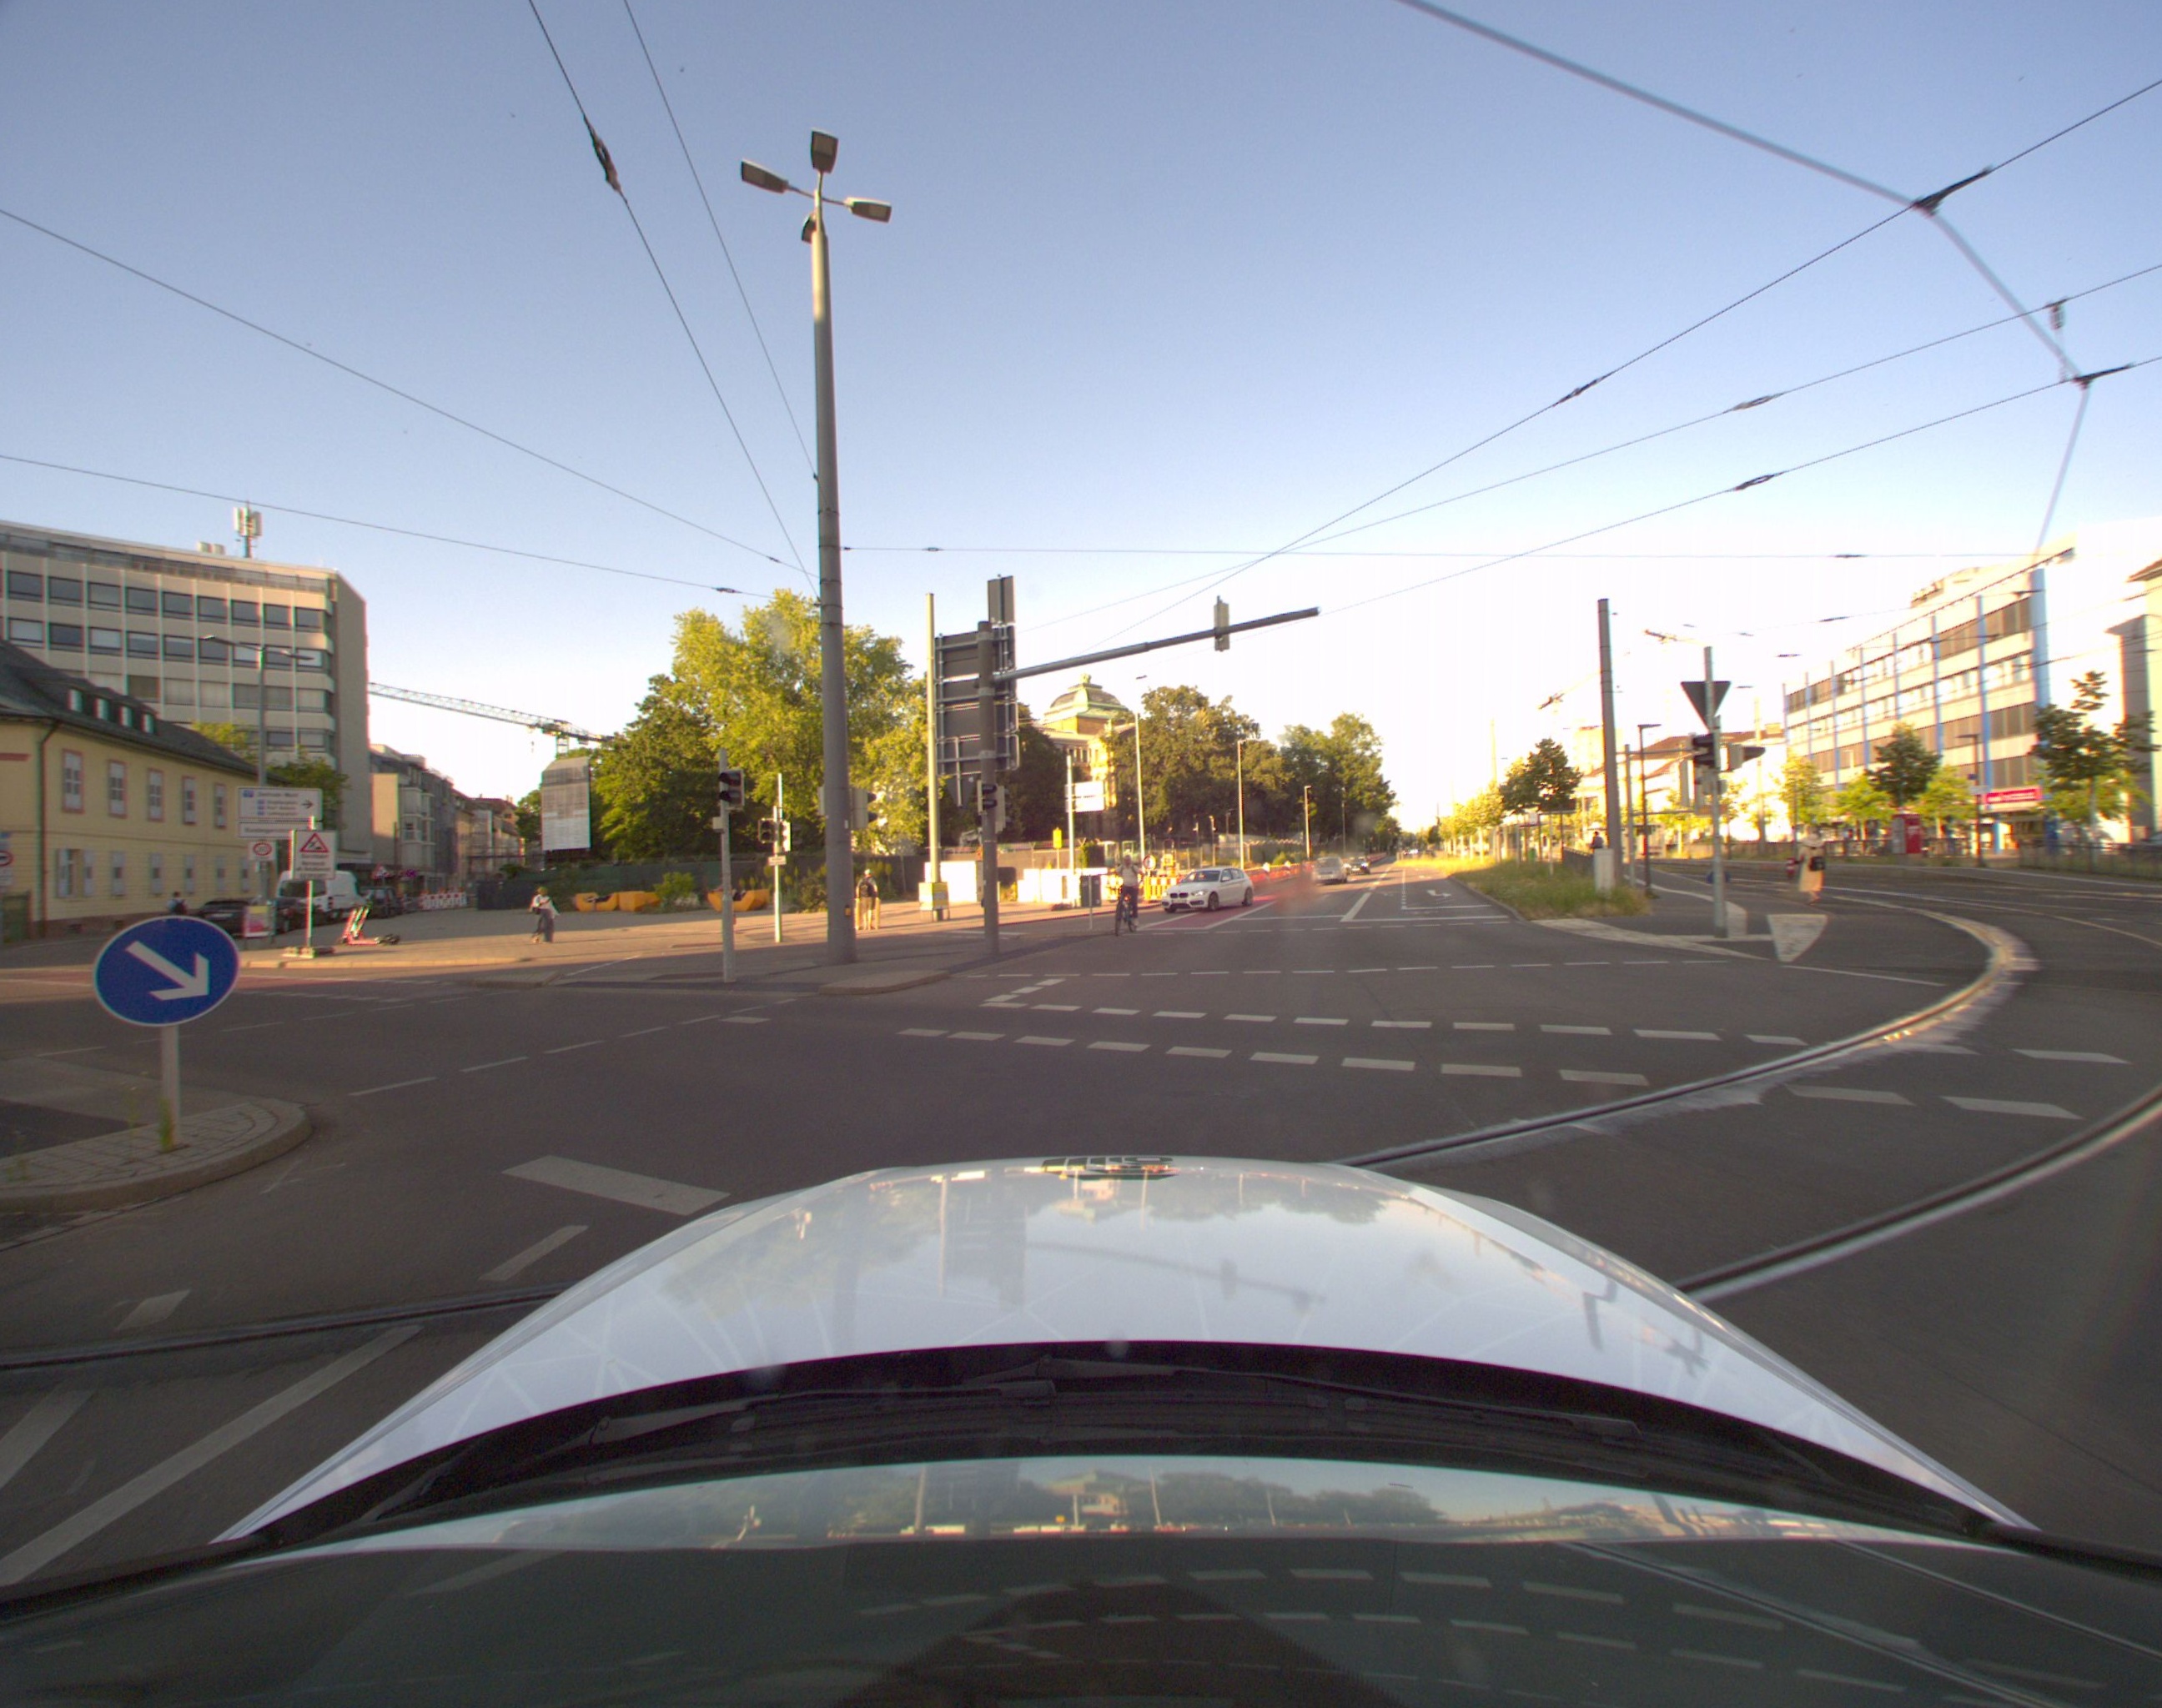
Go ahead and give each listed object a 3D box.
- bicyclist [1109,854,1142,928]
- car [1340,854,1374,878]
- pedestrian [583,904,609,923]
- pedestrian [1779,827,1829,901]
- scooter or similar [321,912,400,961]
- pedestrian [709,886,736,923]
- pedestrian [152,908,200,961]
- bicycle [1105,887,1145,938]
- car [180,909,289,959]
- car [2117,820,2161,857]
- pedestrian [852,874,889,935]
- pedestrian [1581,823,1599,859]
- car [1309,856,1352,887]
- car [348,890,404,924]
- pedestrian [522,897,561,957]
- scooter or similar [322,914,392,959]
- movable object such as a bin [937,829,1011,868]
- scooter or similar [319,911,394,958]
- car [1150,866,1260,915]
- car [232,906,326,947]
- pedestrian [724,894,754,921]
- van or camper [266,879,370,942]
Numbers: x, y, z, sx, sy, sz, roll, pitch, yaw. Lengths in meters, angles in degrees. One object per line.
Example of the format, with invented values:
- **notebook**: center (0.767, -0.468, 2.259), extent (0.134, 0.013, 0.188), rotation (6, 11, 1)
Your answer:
- **bicyclist**: center (1.035, 0.838, 18.913), extent (0.590, 1.671, 0.751), rotation (-3, -1, 12)
- **car**: center (21.083, 0.902, 62.125), extent (1.920, 1.617, 4.417), rotation (-3, -1, 25)
- **pedestrian**: center (-24.511, 2.990, 41.186), extent (0.973, 0.893, 0.563), rotation (-3, -1, 6)
- **pedestrian**: center (15.593, 0.218, 17.576), extent (0.698, 1.541, 0.641), rotation (-4, -2, 38)
- **scooter or similar**: center (-21.045, 2.408, 23.823), extent (1.655, 1.293, 0.458), rotation (-2, -2, -23)
- **pedestrian**: center (-16.678, 2.363, 37.900), extent (0.754, 1.665, 0.827), rotation (-3, -1, 28)
- **pedestrian**: center (-31.460, 2.784, 28.322), extent (0.881, 1.724, 0.822), rotation (-1, -2, -26)
- **bicycle**: center (1.032, 1.330, 18.838), extent (0.590, 1.023, 1.853), rotation (-3, -1, 12)
- **car**: center (-31.616, 2.913, 30.546), extent (1.790, 1.543, 4.247), rotation (-1, -1, -31)
- **car**: center (50.348, -0.762, 36.938), extent (2.094, 1.705, 4.371), rotation (-3, -1, 20)
- **pedestrian**: center (-6.312, 1.493, 24.389), extent (0.944, 1.736, 0.816), rotation (-2, -1, -20)
- **pedestrian**: center (23.388, -0.596, 37.399), extent (0.559, 1.591, 0.694), rotation (-3, -2, 25)
- **car**: center (13.822, 0.955, 44.991), extent (1.660, 1.561, 3.748), rotation (-5, -3, 24)
- **car**: center (-41.727, 3.083, 48.283), extent (1.723, 1.849, 3.984), rotation (-1, -1, -29)
- **pedestrian**: center (-15.166, 2.037, 22.905), extent (0.589, 1.613, 0.694), rotation (-3, -1, 30)
- **scooter or similar**: center (-20.782, 2.361, 23.401), extent (1.405, 1.166, 0.458), rotation (-2, -1, -22)
- **movable object such as a bin**: center (-6.258, -0.283, 47.233), extent (2.009, 2.014, 4.967), rotation (-2, -1, -37)
- **scooter or similar**: center (-21.616, 2.387, 24.342), extent (1.528, 1.260, 0.607), rotation (-2, -1, -23)
- **car**: center (4.331, 1.206, 27.883), extent (1.891, 1.406, 4.332), rotation (-4, -2, 35)
- **car**: center (-34.015, 3.033, 34.666), extent (1.740, 1.430, 4.430), rotation (-1, -1, -30)
- **pedestrian**: center (-15.822, 2.470, 37.702), extent (0.725, 1.158, 0.996), rotation (-3, -2, 28)
- **van or camper**: center (-37.122, 2.678, 39.854), extent (2.089, 2.775, 6.389), rotation (-2, -2, -28)
